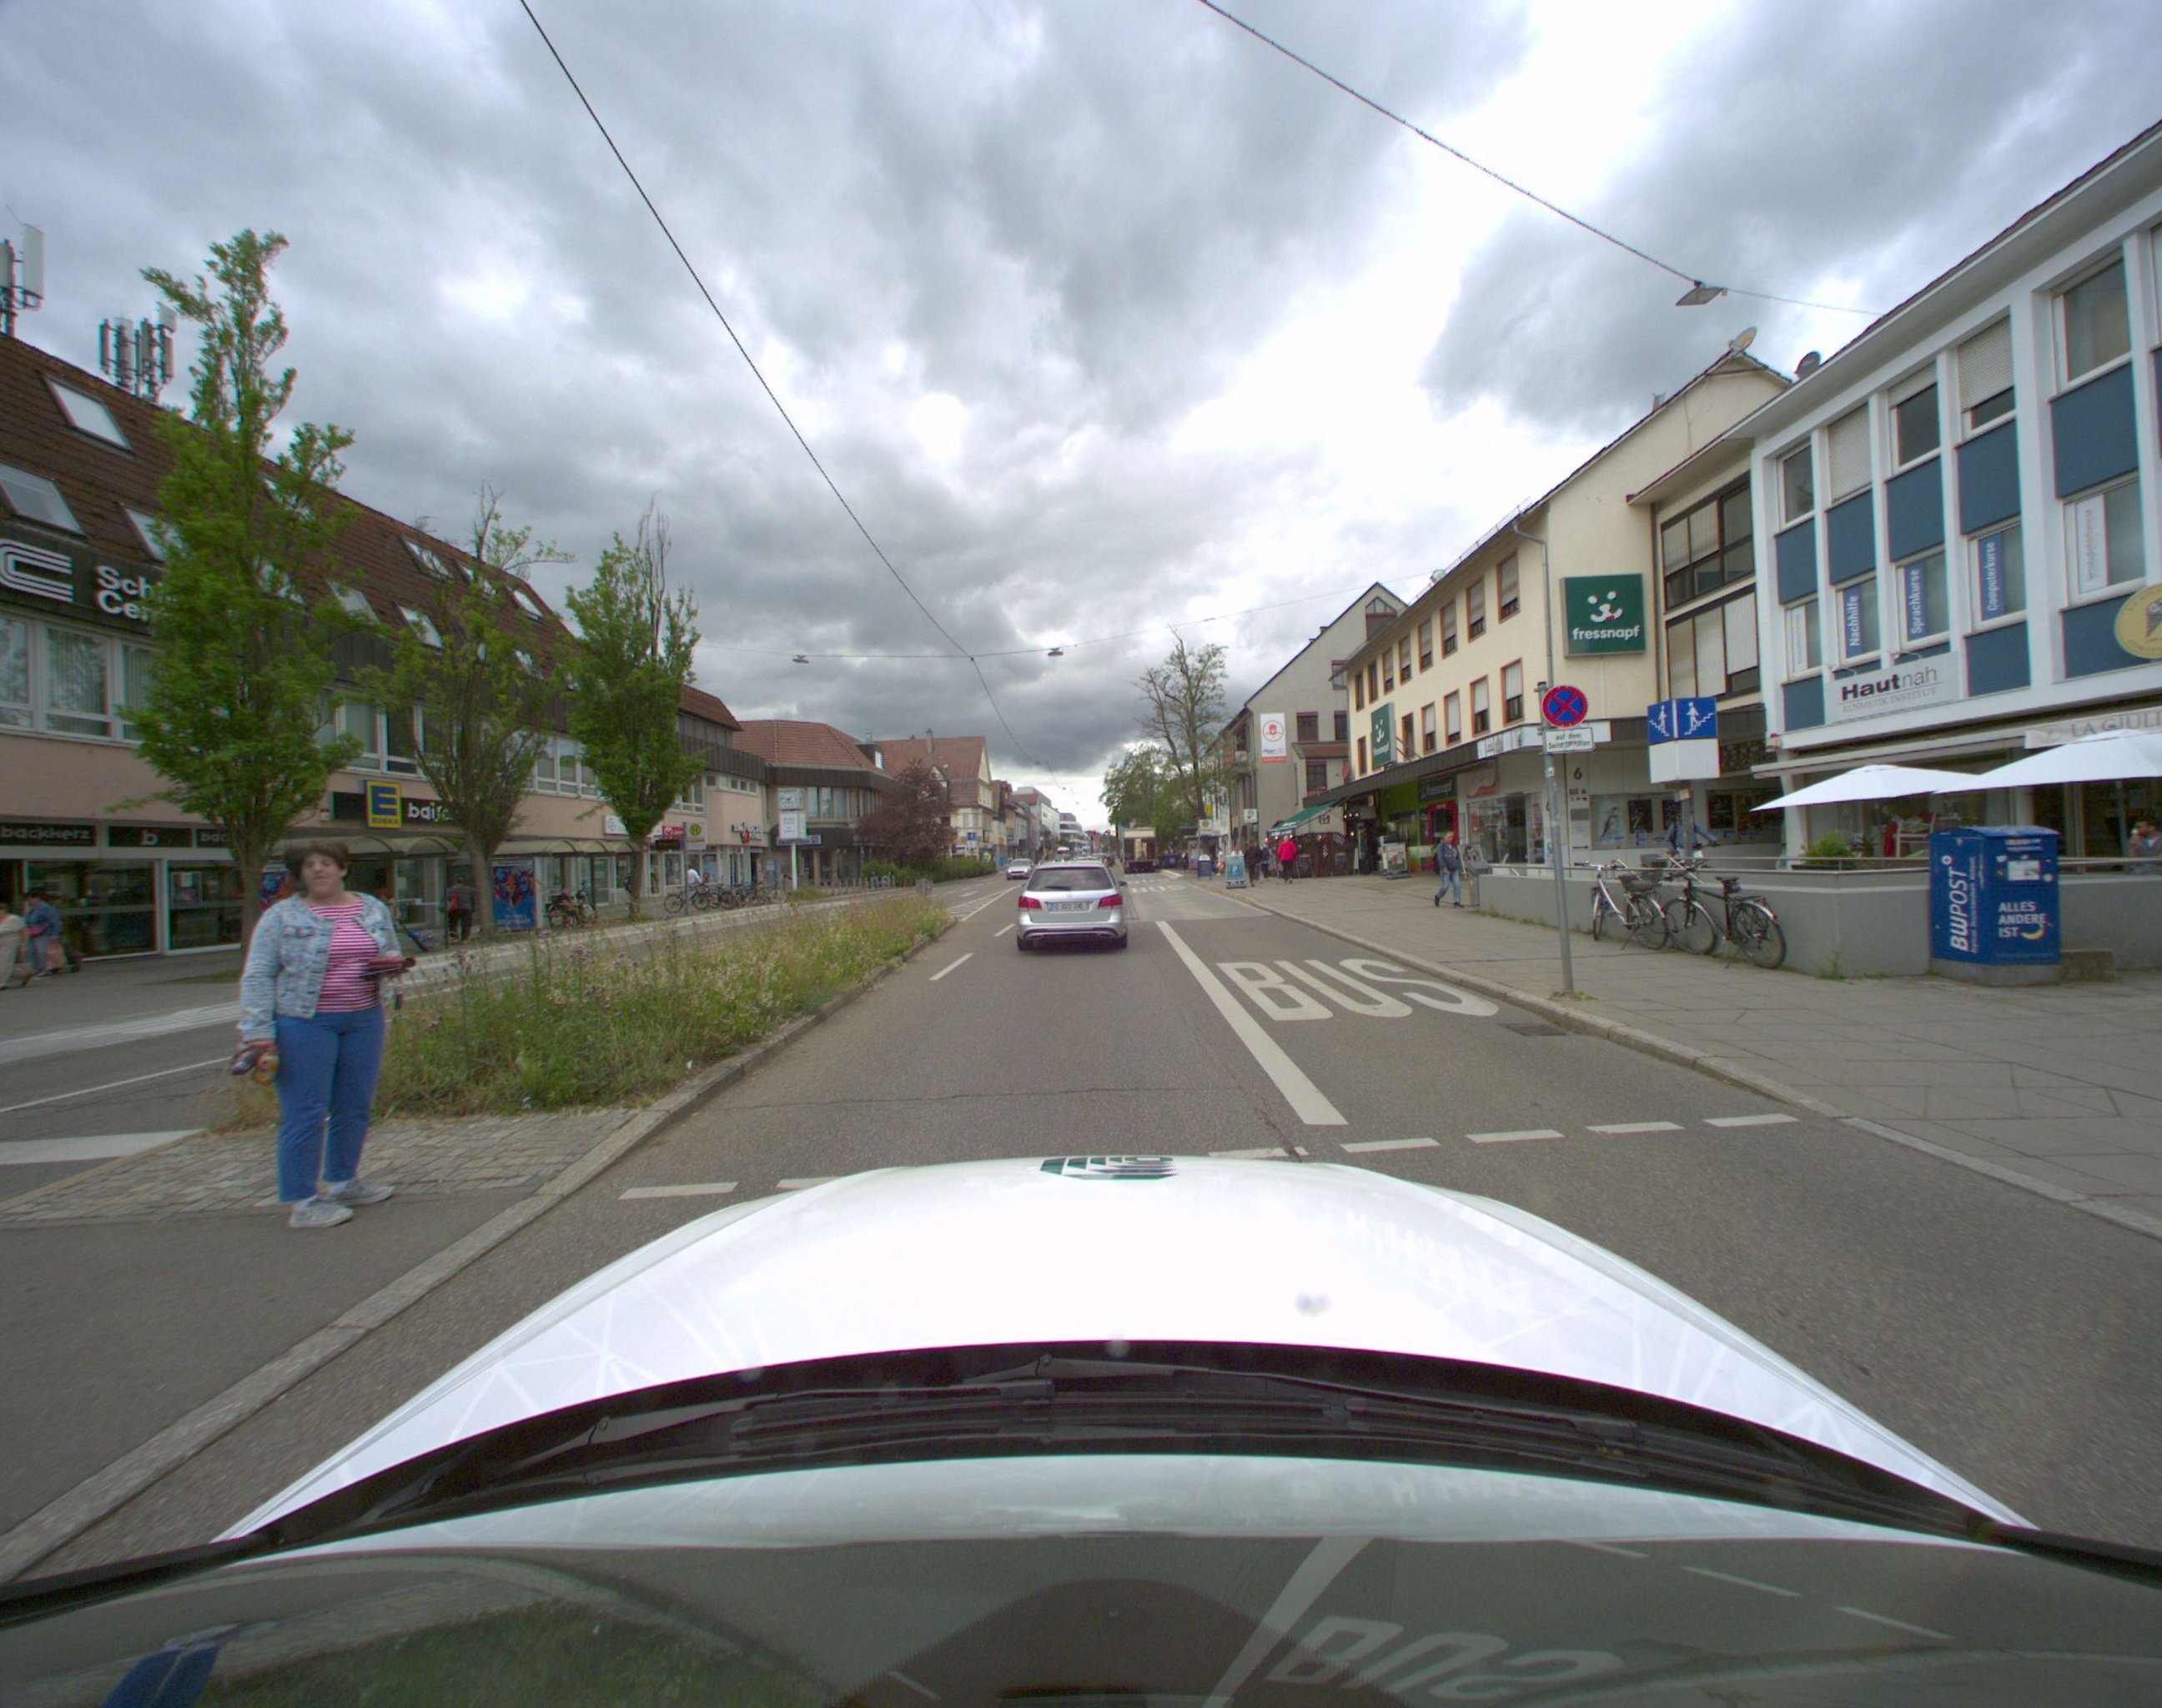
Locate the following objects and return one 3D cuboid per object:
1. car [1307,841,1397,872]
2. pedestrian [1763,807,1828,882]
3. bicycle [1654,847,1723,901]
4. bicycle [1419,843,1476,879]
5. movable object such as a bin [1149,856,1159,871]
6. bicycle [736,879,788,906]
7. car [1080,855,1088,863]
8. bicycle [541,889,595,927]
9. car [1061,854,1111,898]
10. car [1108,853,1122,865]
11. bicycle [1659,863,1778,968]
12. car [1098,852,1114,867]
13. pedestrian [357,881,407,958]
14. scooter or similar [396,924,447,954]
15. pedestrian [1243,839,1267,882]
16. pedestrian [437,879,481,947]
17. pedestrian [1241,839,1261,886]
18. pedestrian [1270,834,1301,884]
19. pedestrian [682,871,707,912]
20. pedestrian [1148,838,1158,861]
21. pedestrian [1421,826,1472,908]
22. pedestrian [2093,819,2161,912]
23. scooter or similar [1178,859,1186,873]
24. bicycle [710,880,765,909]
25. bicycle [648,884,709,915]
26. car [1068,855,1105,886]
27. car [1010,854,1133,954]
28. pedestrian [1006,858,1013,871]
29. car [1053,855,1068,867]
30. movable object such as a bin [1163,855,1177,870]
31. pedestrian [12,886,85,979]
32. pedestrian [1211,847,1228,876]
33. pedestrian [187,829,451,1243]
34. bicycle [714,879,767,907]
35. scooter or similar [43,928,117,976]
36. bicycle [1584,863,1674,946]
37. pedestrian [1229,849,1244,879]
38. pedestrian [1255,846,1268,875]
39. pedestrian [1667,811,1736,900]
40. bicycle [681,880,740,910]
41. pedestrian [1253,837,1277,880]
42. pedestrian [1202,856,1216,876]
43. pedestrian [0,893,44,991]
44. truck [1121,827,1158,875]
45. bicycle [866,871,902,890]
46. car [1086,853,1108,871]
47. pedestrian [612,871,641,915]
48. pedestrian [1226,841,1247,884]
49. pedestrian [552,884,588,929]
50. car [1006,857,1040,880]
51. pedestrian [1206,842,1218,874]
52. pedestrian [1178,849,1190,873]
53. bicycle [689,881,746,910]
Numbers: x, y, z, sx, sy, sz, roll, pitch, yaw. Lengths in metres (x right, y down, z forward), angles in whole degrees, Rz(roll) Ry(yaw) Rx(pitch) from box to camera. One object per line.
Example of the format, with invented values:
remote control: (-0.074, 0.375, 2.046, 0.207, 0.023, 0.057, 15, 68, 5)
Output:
car: (15.485, 0.158, 46.694, 4.581, 1.619, 1.883, -2, 0, 6)
pedestrian: (16.217, -0.211, 18.501, 0.685, 1.634, 0.853, -2, 0, -1)
bicycle: (11.606, 0.366, 15.592, 0.272, 0.974, 1.387, -2, 0, 1)
bicycle: (11.676, 0.201, 26.017, 0.738, 1.062, 2.351, -3, 0, 0)
movable object such as a bin: (6.645, 0.860, 74.248, 0.877, 1.339, 1.086, -2, 0, 4)
bicycle: (-14.248, 1.698, 36.424, 2.016, 1.090, 0.647, -2, 0, -8)
car: (0.535, 1.034, 156.850, 1.565, 1.540, 2.960, 0, 0, 0)
bicycle: (-16.760, 1.746, 26.663, 0.532, 1.090, 1.930, -1, 0, 0)
car: (0.240, 0.852, 31.558, 1.748, 1.521, 4.001, -2, -2, 2)
car: (5.036, 0.762, 119.970, 1.985, 1.684, 4.003, -2, 0, 3)
bicycle: (7.056, 0.643, 9.073, 0.272, 1.053, 1.388, -2, 0, 3)
car: (3.180, 0.687, 103.178, 1.985, 1.684, 4.003, -2, 0, 3)
pedestrian: (-15.930, 1.476, 18.580, 0.587, 1.652, 0.710, -1, 0, -16)
scooter or similar: (-15.435, 1.988, 19.080, 0.590, 0.601, 0.703, -2, 0, 1)
pedestrian: (6.763, 0.243, 31.669, 0.716, 1.634, 0.615, -3, -1, -1)
pedestrian: (-15.792, 1.471, 20.683, 0.586, 1.652, 0.711, -1, 0, -12)
pedestrian: (6.103, 0.309, 29.315, 0.609, 1.678, 0.616, 1, 0, 4)
pedestrian: (7.459, 0.189, 29.743, 0.793, 1.742, 0.781, -4, -2, -4)
pedestrian: (-17.099, 1.630, 36.046, 0.723, 1.764, 0.755, 1, 0, 0)
pedestrian: (5.494, -0.344, 62.089, 0.611, 1.780, 0.587, -2, -2, -2)
pedestrian: (7.641, 0.261, 17.050, 0.684, 1.634, 0.854, -2, 0, 5)
pedestrian: (14.447, 0.154, 11.081, 0.611, 1.220, 0.588, 1, 0, -1)
scooter or similar: (6.947, 0.836, 56.021, 0.387, 0.959, 0.351, -2, 0, -39)
bicycle: (-14.685, 1.723, 34.849, 2.016, 1.090, 0.647, -2, 0, -8)
bicycle: (-15.630, 1.749, 31.680, 2.019, 1.090, 0.646, -1, 0, -12)
car: (0.366, 0.915, 47.407, 1.985, 1.684, 4.003, -2, 0, 3)
car: (-0.130, 0.781, 14.610, 1.868, 1.506, 4.000, -1, 0, 0)
pedestrian: (-8.881, 1.309, 101.513, 0.815, 1.634, 0.979, 0, 0, -3)
car: (-3.536, 1.205, 140.744, 2.060, 1.738, 4.698, -4, 0, 4)
movable object such as a bin: (8.051, 0.792, 73.998, 1.138, 1.339, 1.377, -2, 0, 4)
pedestrian: (-19.765, 1.494, 15.604, 0.584, 1.712, 0.615, 1, 0, 0)
pedestrian: (8.126, 0.438, 47.683, 0.615, 1.634, 0.789, -2, 0, -20)
pedestrian: (-3.317, 0.725, 3.605, 0.502, 1.634, 0.662, -2, 0, -4)
bicycle: (-14.840, 1.699, 35.548, 2.016, 1.090, 0.647, -2, 0, -8)
scooter or similar: (-19.964, 1.940, 16.255, 0.590, 0.848, 0.703, -2, 0, 1)
bicycle: (7.066, 0.625, 10.566, 0.272, 0.974, 1.388, -2, 0, 3)
pedestrian: (8.147, 0.513, 42.774, 0.666, 1.567, 0.494, 0, 1, 22)
pedestrian: (10.296, 0.388, 46.413, 0.583, 1.634, 0.615, -2, 0, 3)
pedestrian: (11.834, 0.021, 15.548, 0.663, 1.634, 0.801, -2, 0, 3)
bicycle: (-14.804, 1.649, 32.588, 2.013, 1.090, 0.648, -2, 0, -3)
pedestrian: (7.622, 0.199, 33.791, 0.681, 1.742, 0.781, -4, -2, -3)
pedestrian: (7.882, 0.730, 50.282, 0.710, 1.166, 0.587, -1, 0, -5)
pedestrian: (-18.701, 1.517, 14.128, 0.584, 1.634, 0.615, 1, 0, 0)
truck: (4.755, -0.239, 67.809, 2.678, 3.561, 9.771, -2, 0, 2)
bicycle: (-12.054, 1.601, 49.843, 2.016, 1.090, 0.647, -2, 0, -8)
car: (1.564, 0.737, 79.888, 1.985, 1.684, 4.003, -2, 0, 3)
pedestrian: (-18.765, 1.618, 33.642, 0.723, 1.764, 0.755, 1, 0, 0)
pedestrian: (6.070, 0.325, 31.828, 0.611, 1.634, 0.615, -3, -1, -1)
pedestrian: (-15.987, 1.640, 25.473, 0.708, 1.364, 0.588, -1, 0, 4)
car: (-4.194, 1.018, 59.133, 1.867, 1.506, 4.346, -3, -1, 2)
pedestrian: (8.491, 0.250, 52.776, 0.608, 2.047, 0.590, -4, -1, 15)
pedestrian: (7.140, 0.481, 56.460, 0.537, 1.634, 0.583, 1, 0, -22)
bicycle: (-15.002, 1.704, 33.648, 2.016, 1.090, 0.647, -2, 0, -8)
